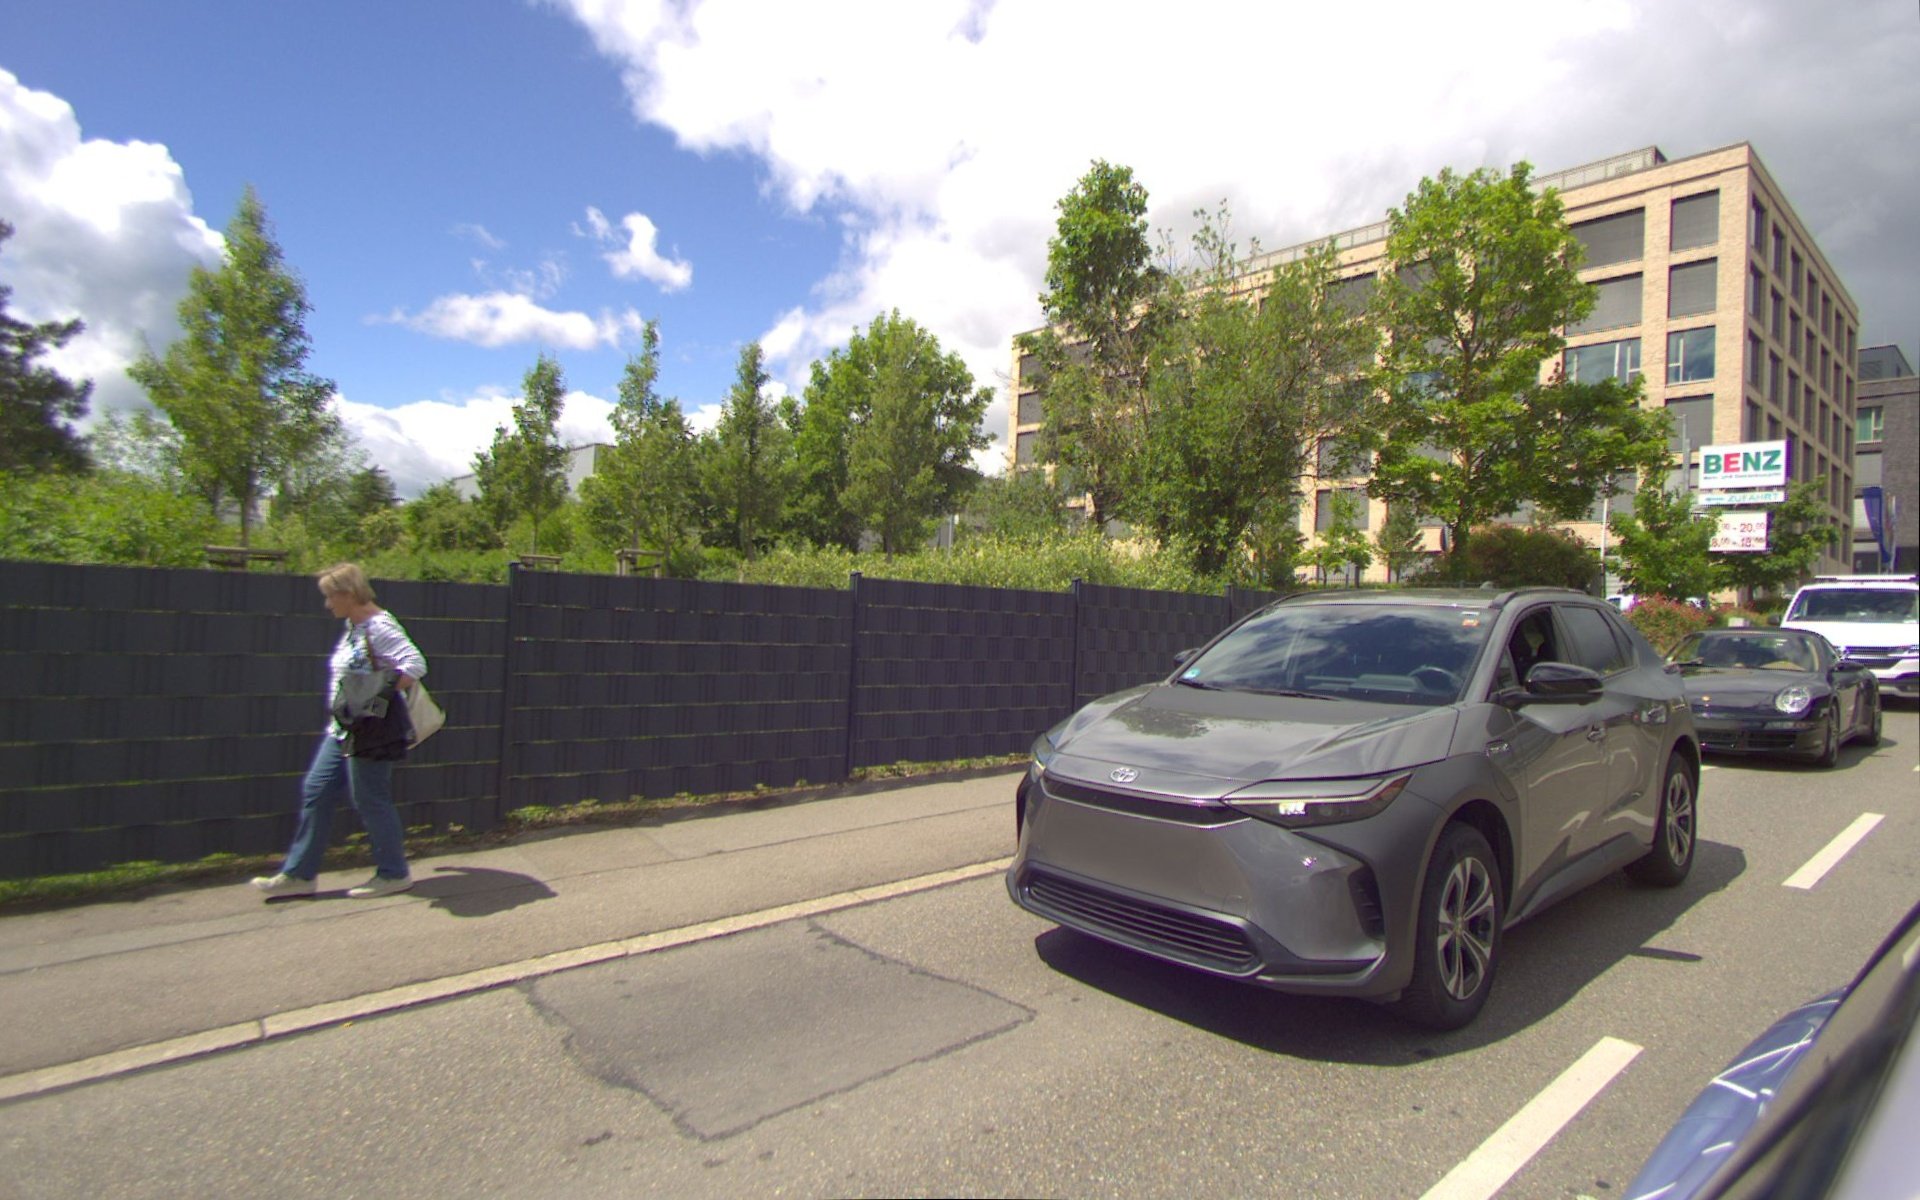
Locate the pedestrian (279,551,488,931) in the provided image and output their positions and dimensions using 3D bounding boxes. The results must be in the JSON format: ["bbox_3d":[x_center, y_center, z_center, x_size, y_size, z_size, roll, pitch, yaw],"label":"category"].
[{"bbox_3d":[-2.720,0.570,4.756,0.700,1.581,0.861,0,2,-41],"label":"pedestrian"}]

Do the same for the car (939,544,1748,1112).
[{"bbox_3d":[2.265,0.677,5.170,4.601,1.634,1.922,1,-1,-41],"label":"car"}]

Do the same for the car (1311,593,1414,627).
[{"bbox_3d":[18.964,0.448,47.798,1.705,1.436,4.215,1,1,-41],"label":"car"}]

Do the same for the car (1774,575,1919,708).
[{"bbox_3d":[14.841,0.600,16.254,4.563,1.874,1.962,1,-1,-41],"label":"car"}]

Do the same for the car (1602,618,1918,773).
[{"bbox_3d":[8.668,0.856,10.821,4.487,1.290,1.776,1,-1,-40],"label":"car"}]

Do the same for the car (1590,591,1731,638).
[{"bbox_3d":[27.062,0.528,39.183,1.707,1.596,4.211,1,1,-44],"label":"car"}]
